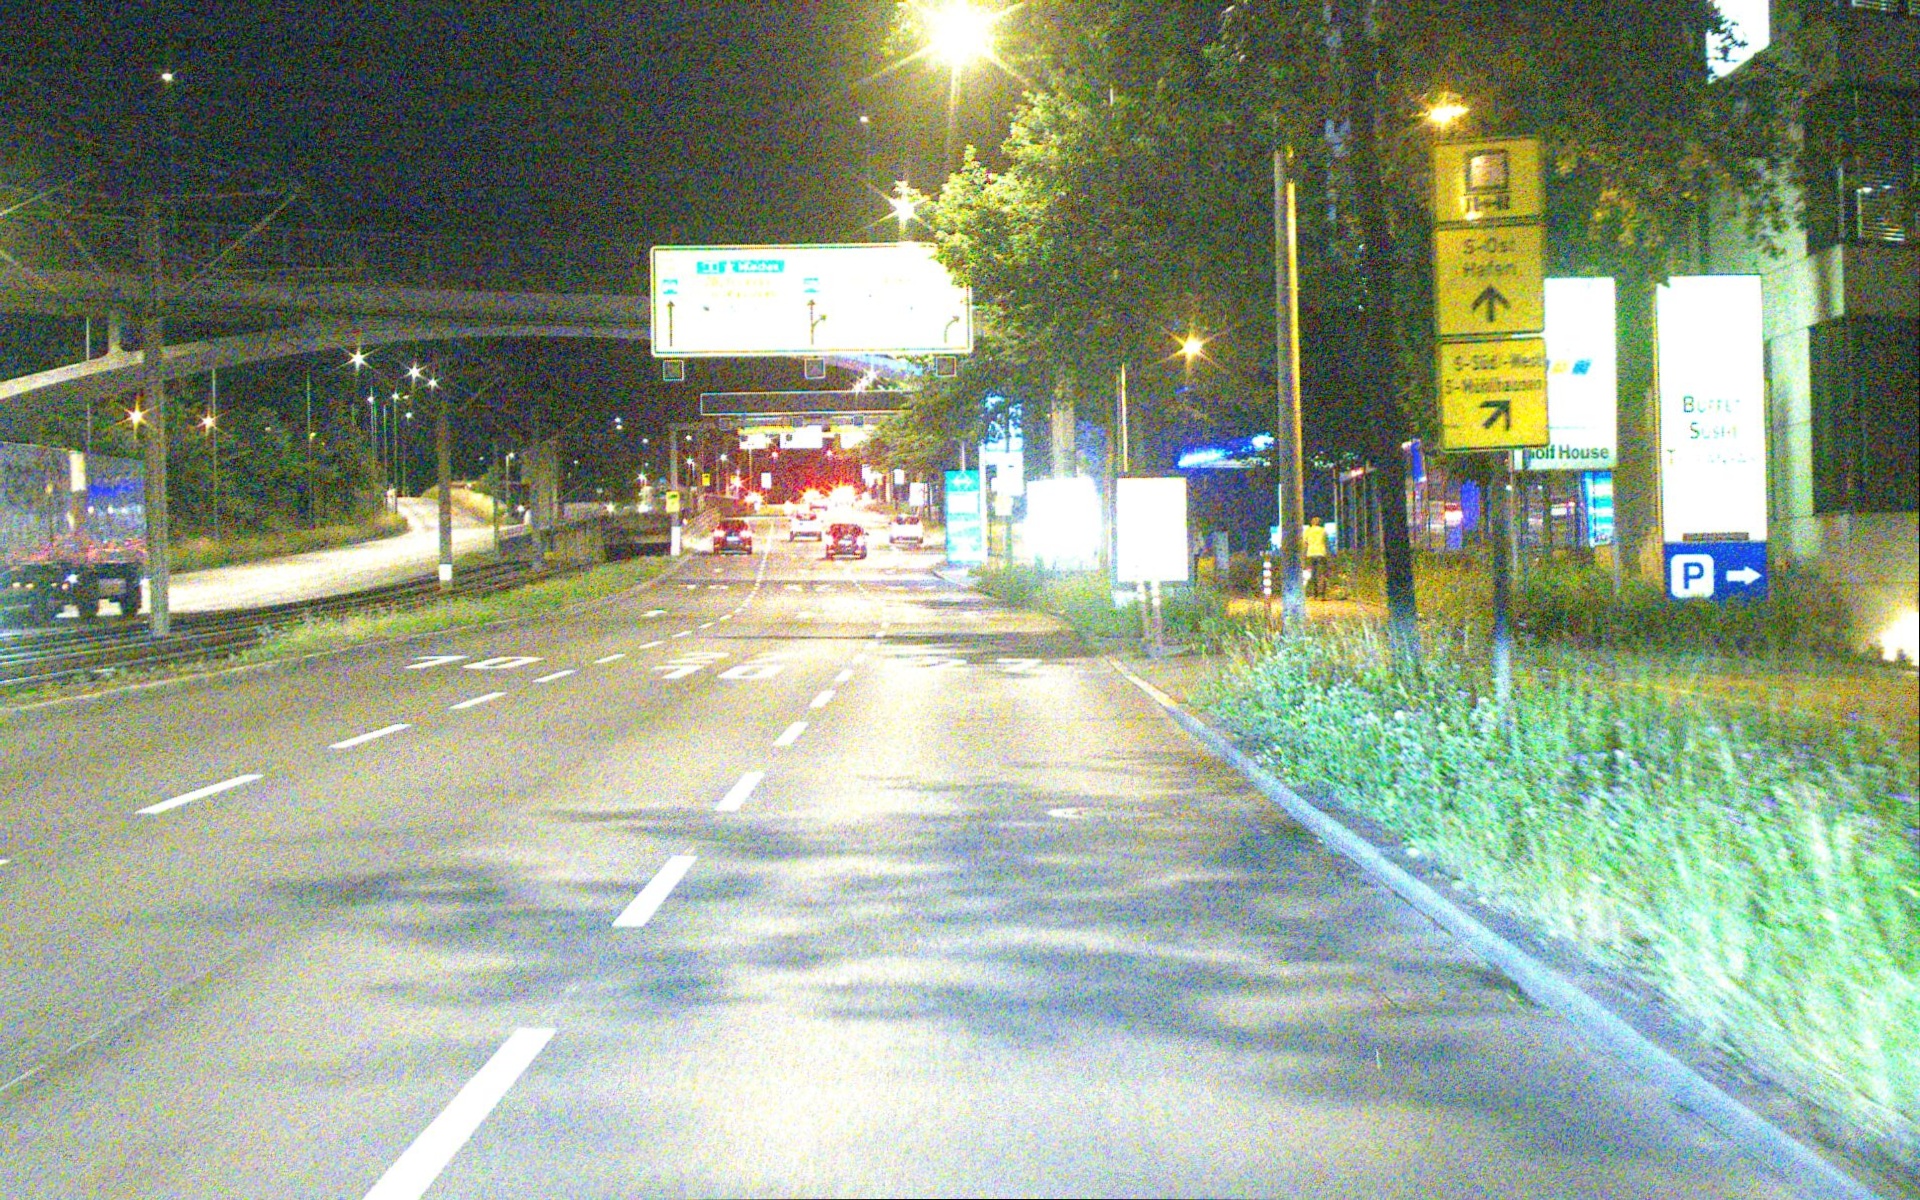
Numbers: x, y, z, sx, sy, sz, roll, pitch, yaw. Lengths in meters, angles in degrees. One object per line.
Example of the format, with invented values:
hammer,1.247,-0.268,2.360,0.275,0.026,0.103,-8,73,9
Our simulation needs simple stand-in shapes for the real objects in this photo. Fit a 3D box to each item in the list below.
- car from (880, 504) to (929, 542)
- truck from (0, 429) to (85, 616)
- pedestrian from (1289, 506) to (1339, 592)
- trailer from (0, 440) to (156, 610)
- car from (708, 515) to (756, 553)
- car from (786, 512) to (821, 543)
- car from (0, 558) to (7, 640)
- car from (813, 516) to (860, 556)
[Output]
car,-3.050,-4.227,189.729,2.651,2.007,5.299,1,1,-1
truck,-22.169,-1.691,75.371,3.681,3.941,10.422,1,1,-2
pedestrian,7.143,-1.023,69.441,0.852,1.701,0.957,1,0,-2
trailer,-22.543,-1.816,84.784,3.696,3.976,8.396,1,1,-2
car,-10.575,-3.031,159.505,1.968,1.705,4.000,1,1,-1
car,-8.726,-4.030,191.808,1.782,1.705,4.000,1,1,-1
car,-18.460,0.003,61.634,1.804,1.494,4.086,0,1,-3
car,-5.527,-2.865,154.300,1.968,1.705,4.000,1,1,-1
